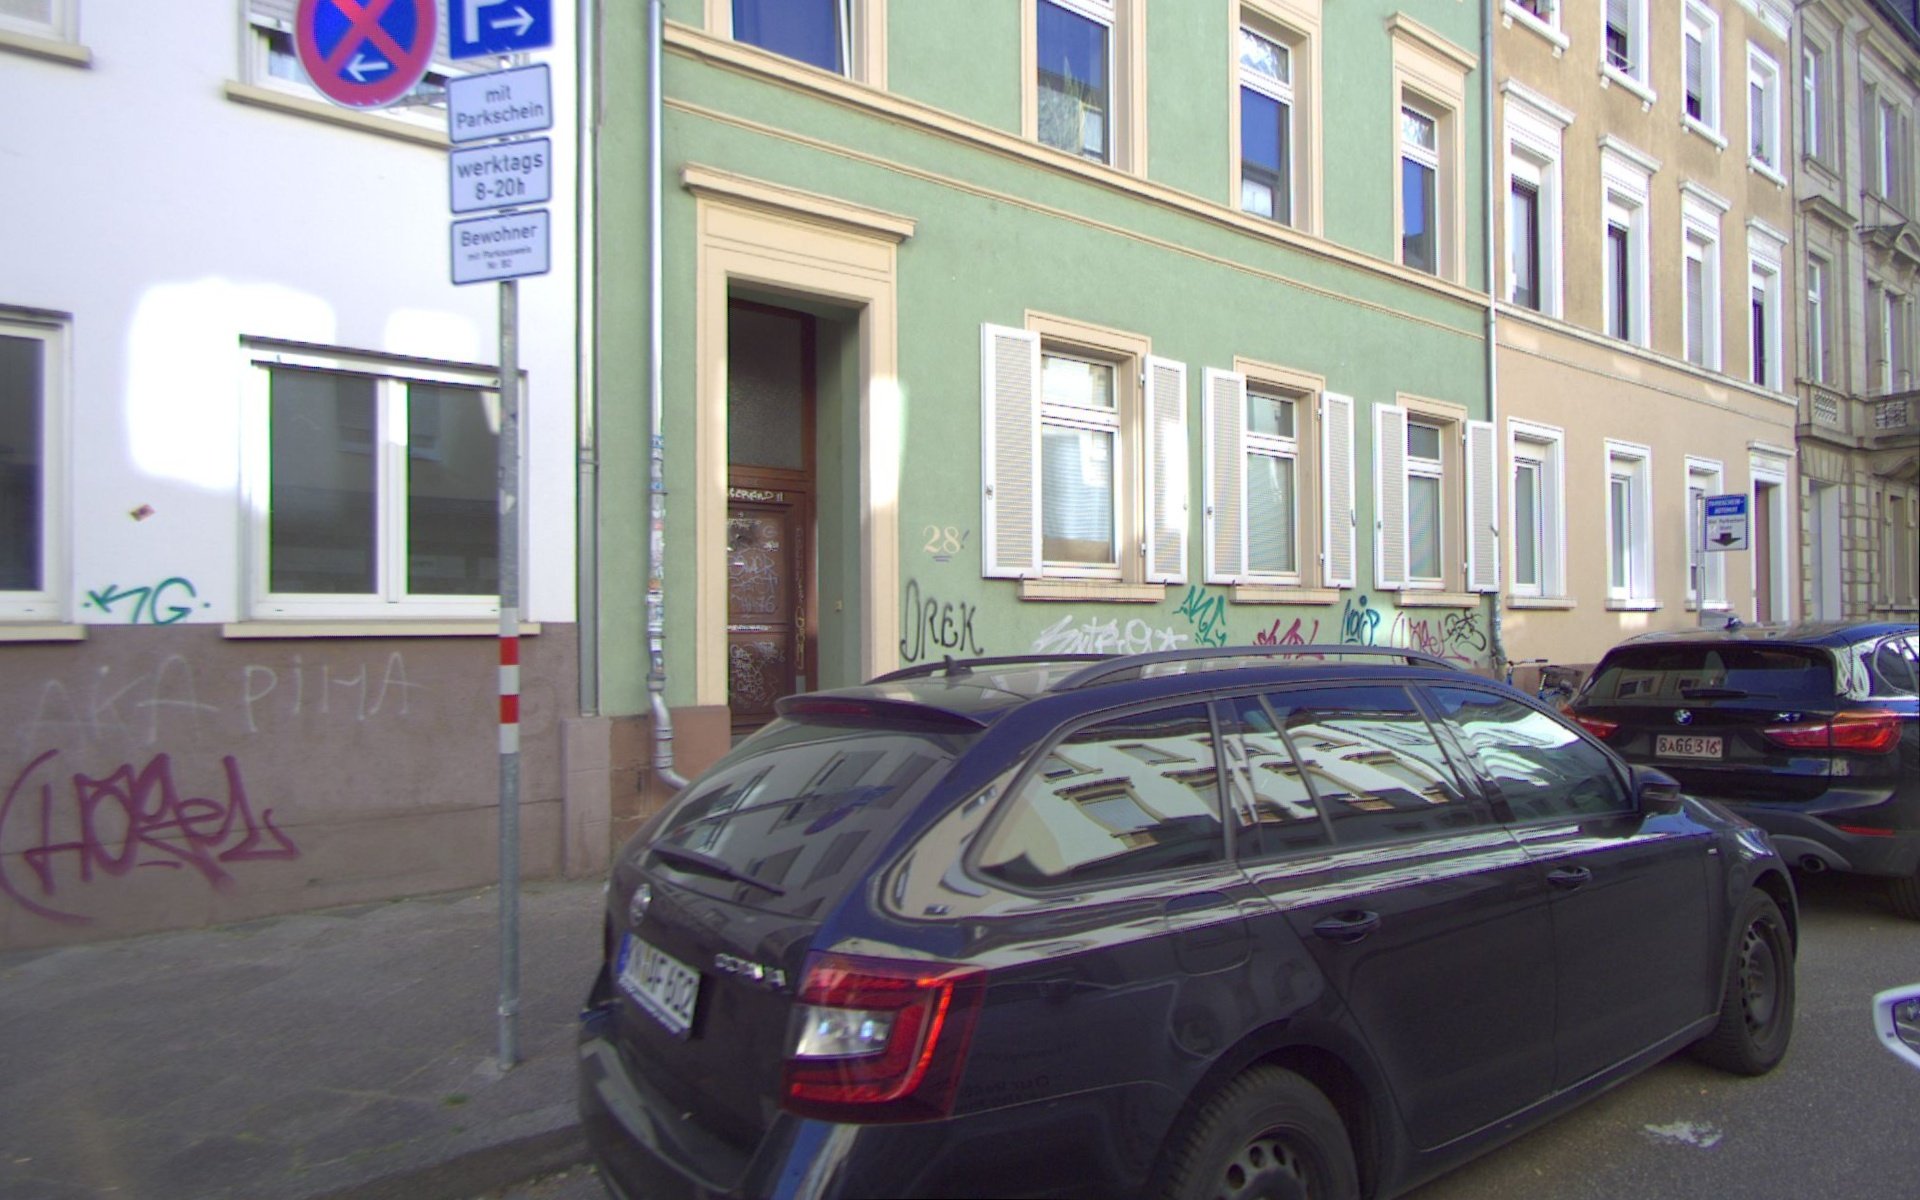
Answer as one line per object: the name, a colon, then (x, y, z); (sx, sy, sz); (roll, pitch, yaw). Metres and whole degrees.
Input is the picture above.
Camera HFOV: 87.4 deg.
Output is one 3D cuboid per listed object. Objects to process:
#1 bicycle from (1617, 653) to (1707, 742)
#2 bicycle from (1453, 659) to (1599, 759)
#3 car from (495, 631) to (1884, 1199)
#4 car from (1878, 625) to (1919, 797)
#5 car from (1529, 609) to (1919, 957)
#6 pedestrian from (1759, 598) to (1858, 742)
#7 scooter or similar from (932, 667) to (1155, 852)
bicycle: (9.121, 1.236, 13.029); (1.819, 1.070, 0.399); (2, -3, -37)
bicycle: (6.343, 1.190, 11.224); (1.891, 1.042, 0.360); (1, -2, -24)
car: (1.192, 0.907, 3.363); (4.802, 1.507, 1.704); (1, -5, -35)
car: (10.702, 1.021, 9.892); (3.937, 1.574, 1.605); (1, -2, -35)
car: (5.923, 0.916, 6.726); (4.553, 1.636, 1.735); (0, -3, -33)
pedestrian: (10.706, 0.848, 12.678); (0.874, 1.737, 0.760); (0, 0, -34)
scooter or similar: (0.635, 1.100, 7.307); (1.671, 1.197, 0.451); (1, -2, -31)
